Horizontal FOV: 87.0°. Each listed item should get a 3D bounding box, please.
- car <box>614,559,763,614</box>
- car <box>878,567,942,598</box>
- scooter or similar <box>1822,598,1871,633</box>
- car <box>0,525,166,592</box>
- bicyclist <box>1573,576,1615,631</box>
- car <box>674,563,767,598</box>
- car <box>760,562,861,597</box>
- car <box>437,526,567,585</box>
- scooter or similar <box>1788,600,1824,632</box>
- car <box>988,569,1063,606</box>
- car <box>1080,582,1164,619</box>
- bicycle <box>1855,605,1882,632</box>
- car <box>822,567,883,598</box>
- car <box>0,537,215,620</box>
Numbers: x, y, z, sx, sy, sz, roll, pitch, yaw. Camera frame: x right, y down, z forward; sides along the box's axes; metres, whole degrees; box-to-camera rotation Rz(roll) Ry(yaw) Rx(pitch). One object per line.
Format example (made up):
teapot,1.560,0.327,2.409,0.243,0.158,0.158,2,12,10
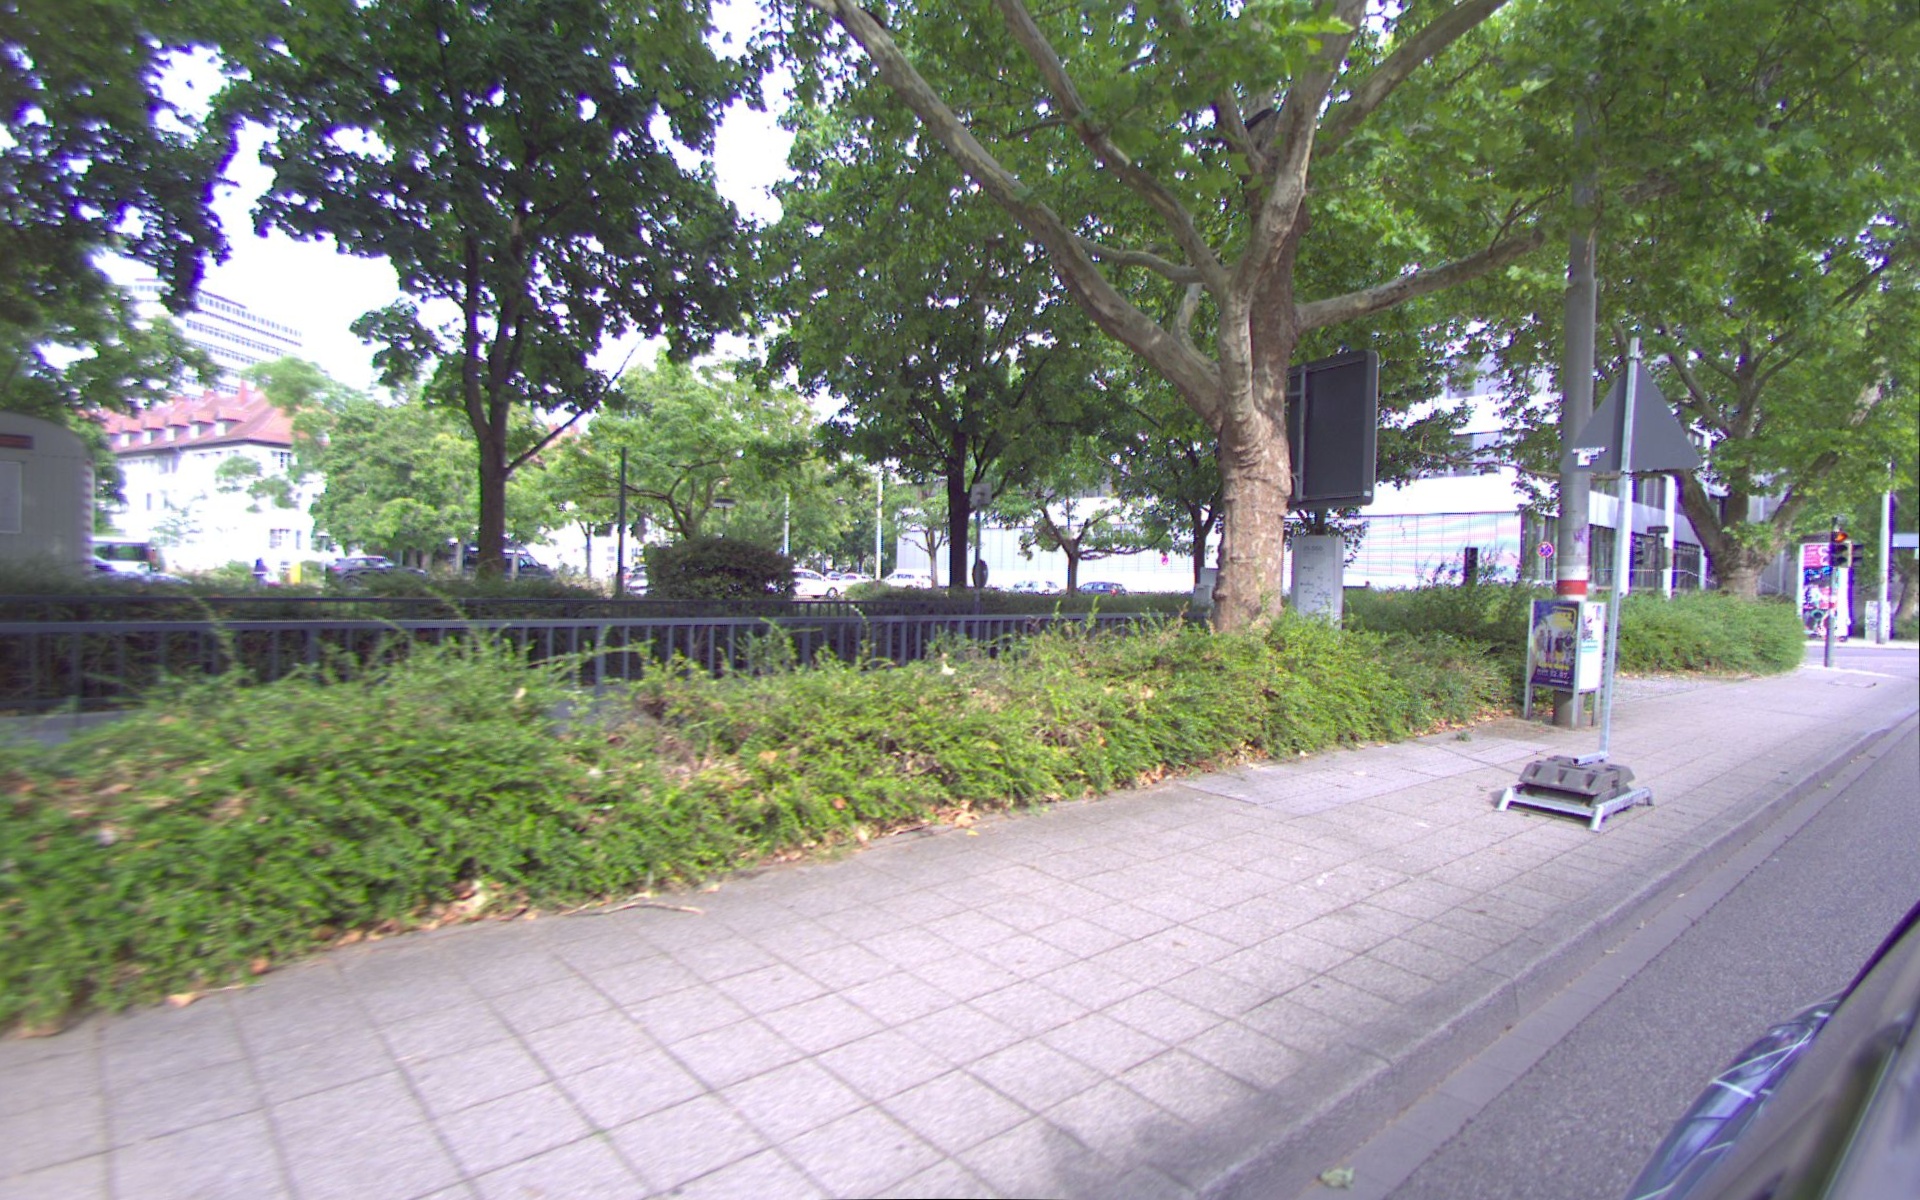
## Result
car,-9.432,-0.421,35.427,4.695,1.817,1.994,1,-1,-45
car,-3.268,-1.119,65.938,3.861,1.885,1.925,0,-1,40
scooter or similar,33.755,0.595,38.534,0.338,1.224,1.310,1,3,-37
car,-29.875,-1.335,34.090,1.993,2.039,4.698,0,-1,43
bicyclist,20.012,0.109,31.945,0.899,1.699,0.831,0,1,-37
car,-13.204,-1.047,55.980,4.694,1.817,1.995,1,-1,-44
car,-7.495,-0.992,50.870,4.689,1.651,1.997,1,-1,-41
car,-22.658,-2.108,50.203,5.406,2.647,2.436,1,-1,-44
scooter or similar,32.931,0.608,39.417,0.465,1.151,1.305,3,2,14
car,3.788,-0.698,58.693,3.981,2.039,1.971,0,-1,40
car,8.664,0.017,54.238,3.981,1.883,1.971,0,-1,40
bicycle,39.855,0.806,44.398,1.695,1.184,0.699,1,-1,-42
car,-7.373,-1.188,69.316,3.981,2.039,1.971,0,-1,40
car,-20.615,-0.463,23.847,4.695,1.817,1.994,1,-1,-45
